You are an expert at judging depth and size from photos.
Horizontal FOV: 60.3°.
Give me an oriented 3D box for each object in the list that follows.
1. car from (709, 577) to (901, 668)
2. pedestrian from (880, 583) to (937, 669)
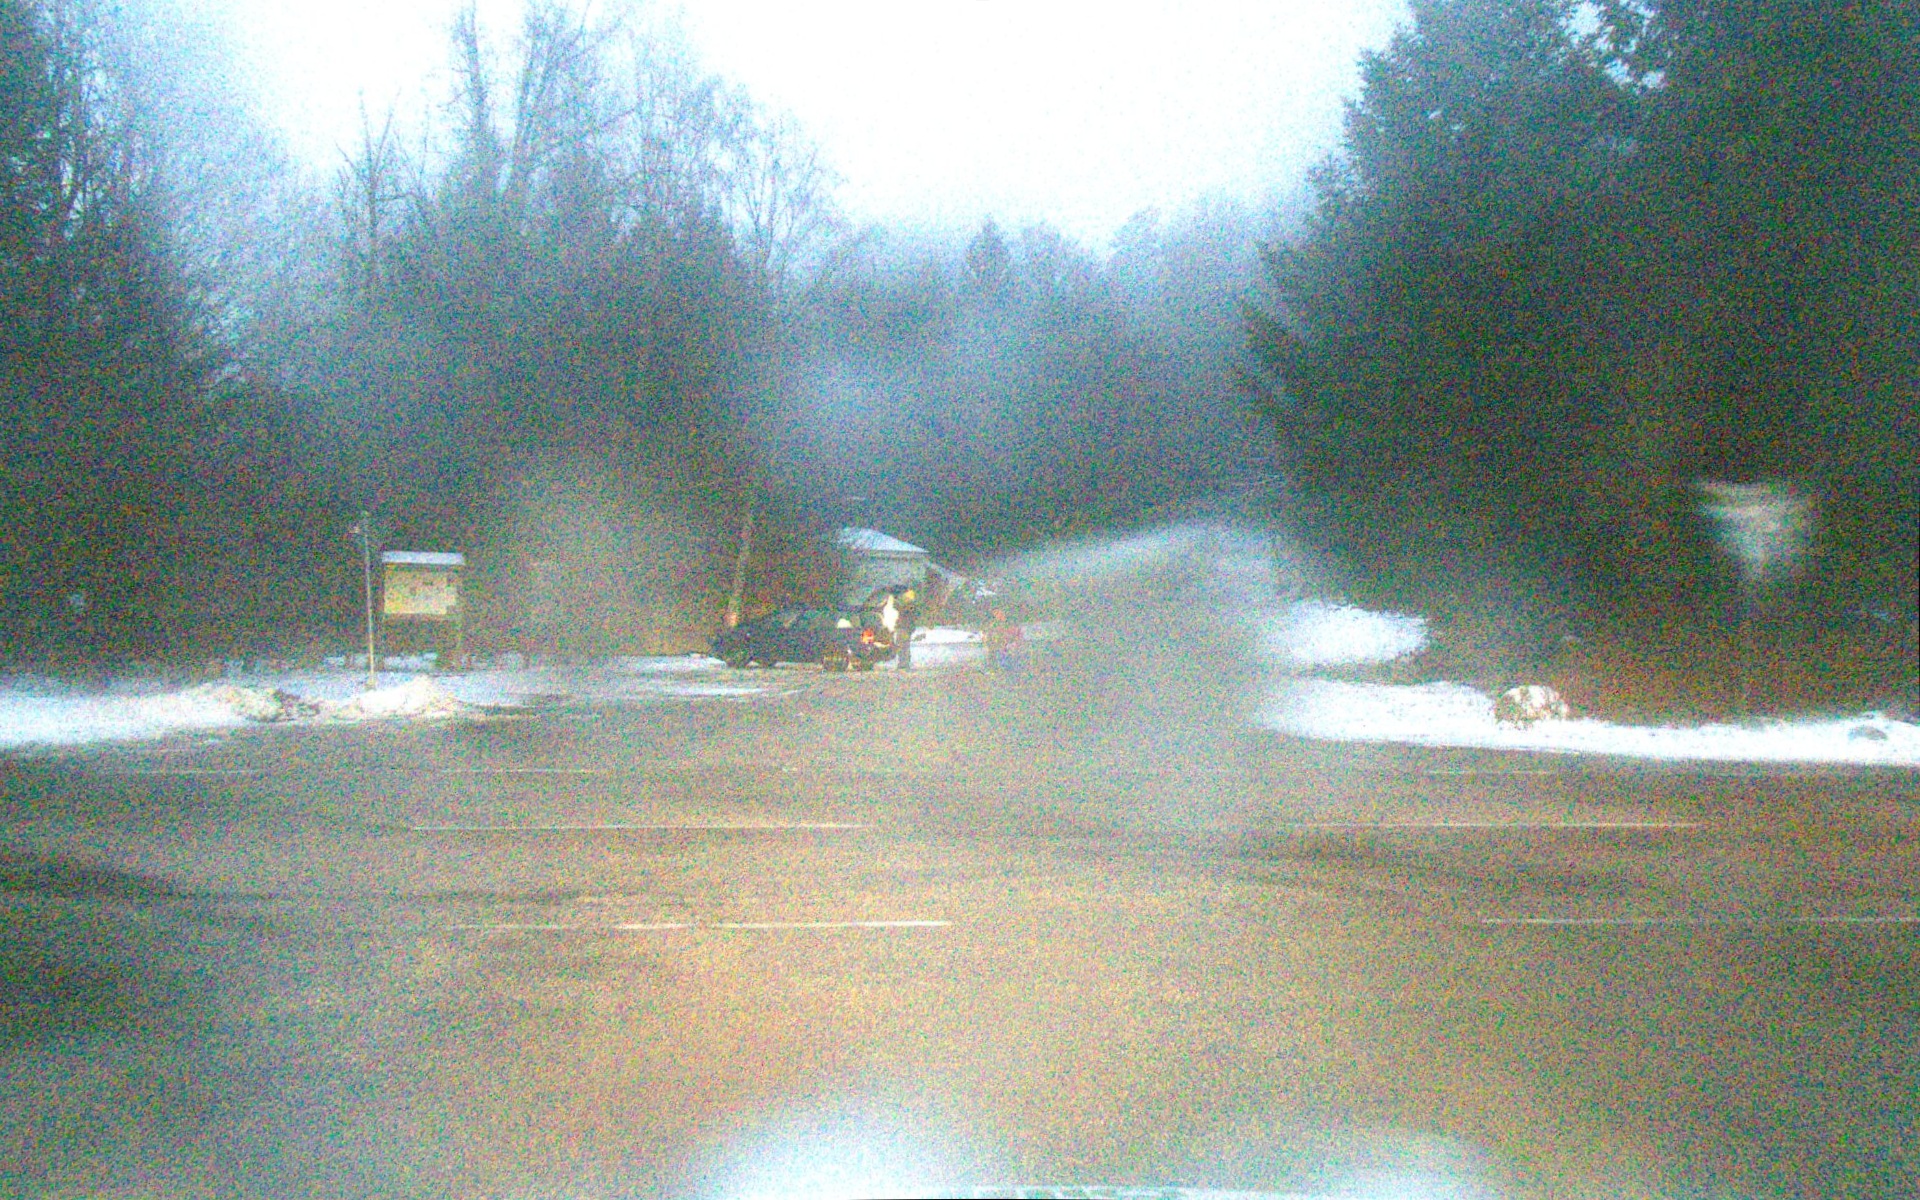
[{"bbox_3d":[-3.497,0.507,37.615,3.863,1.914,2.001,1,-1,16],"label":"car"},{"bbox_3d":[-1.127,0.581,36.575,0.941,1.860,0.925,1,-2,20],"label":"pedestrian"}]
